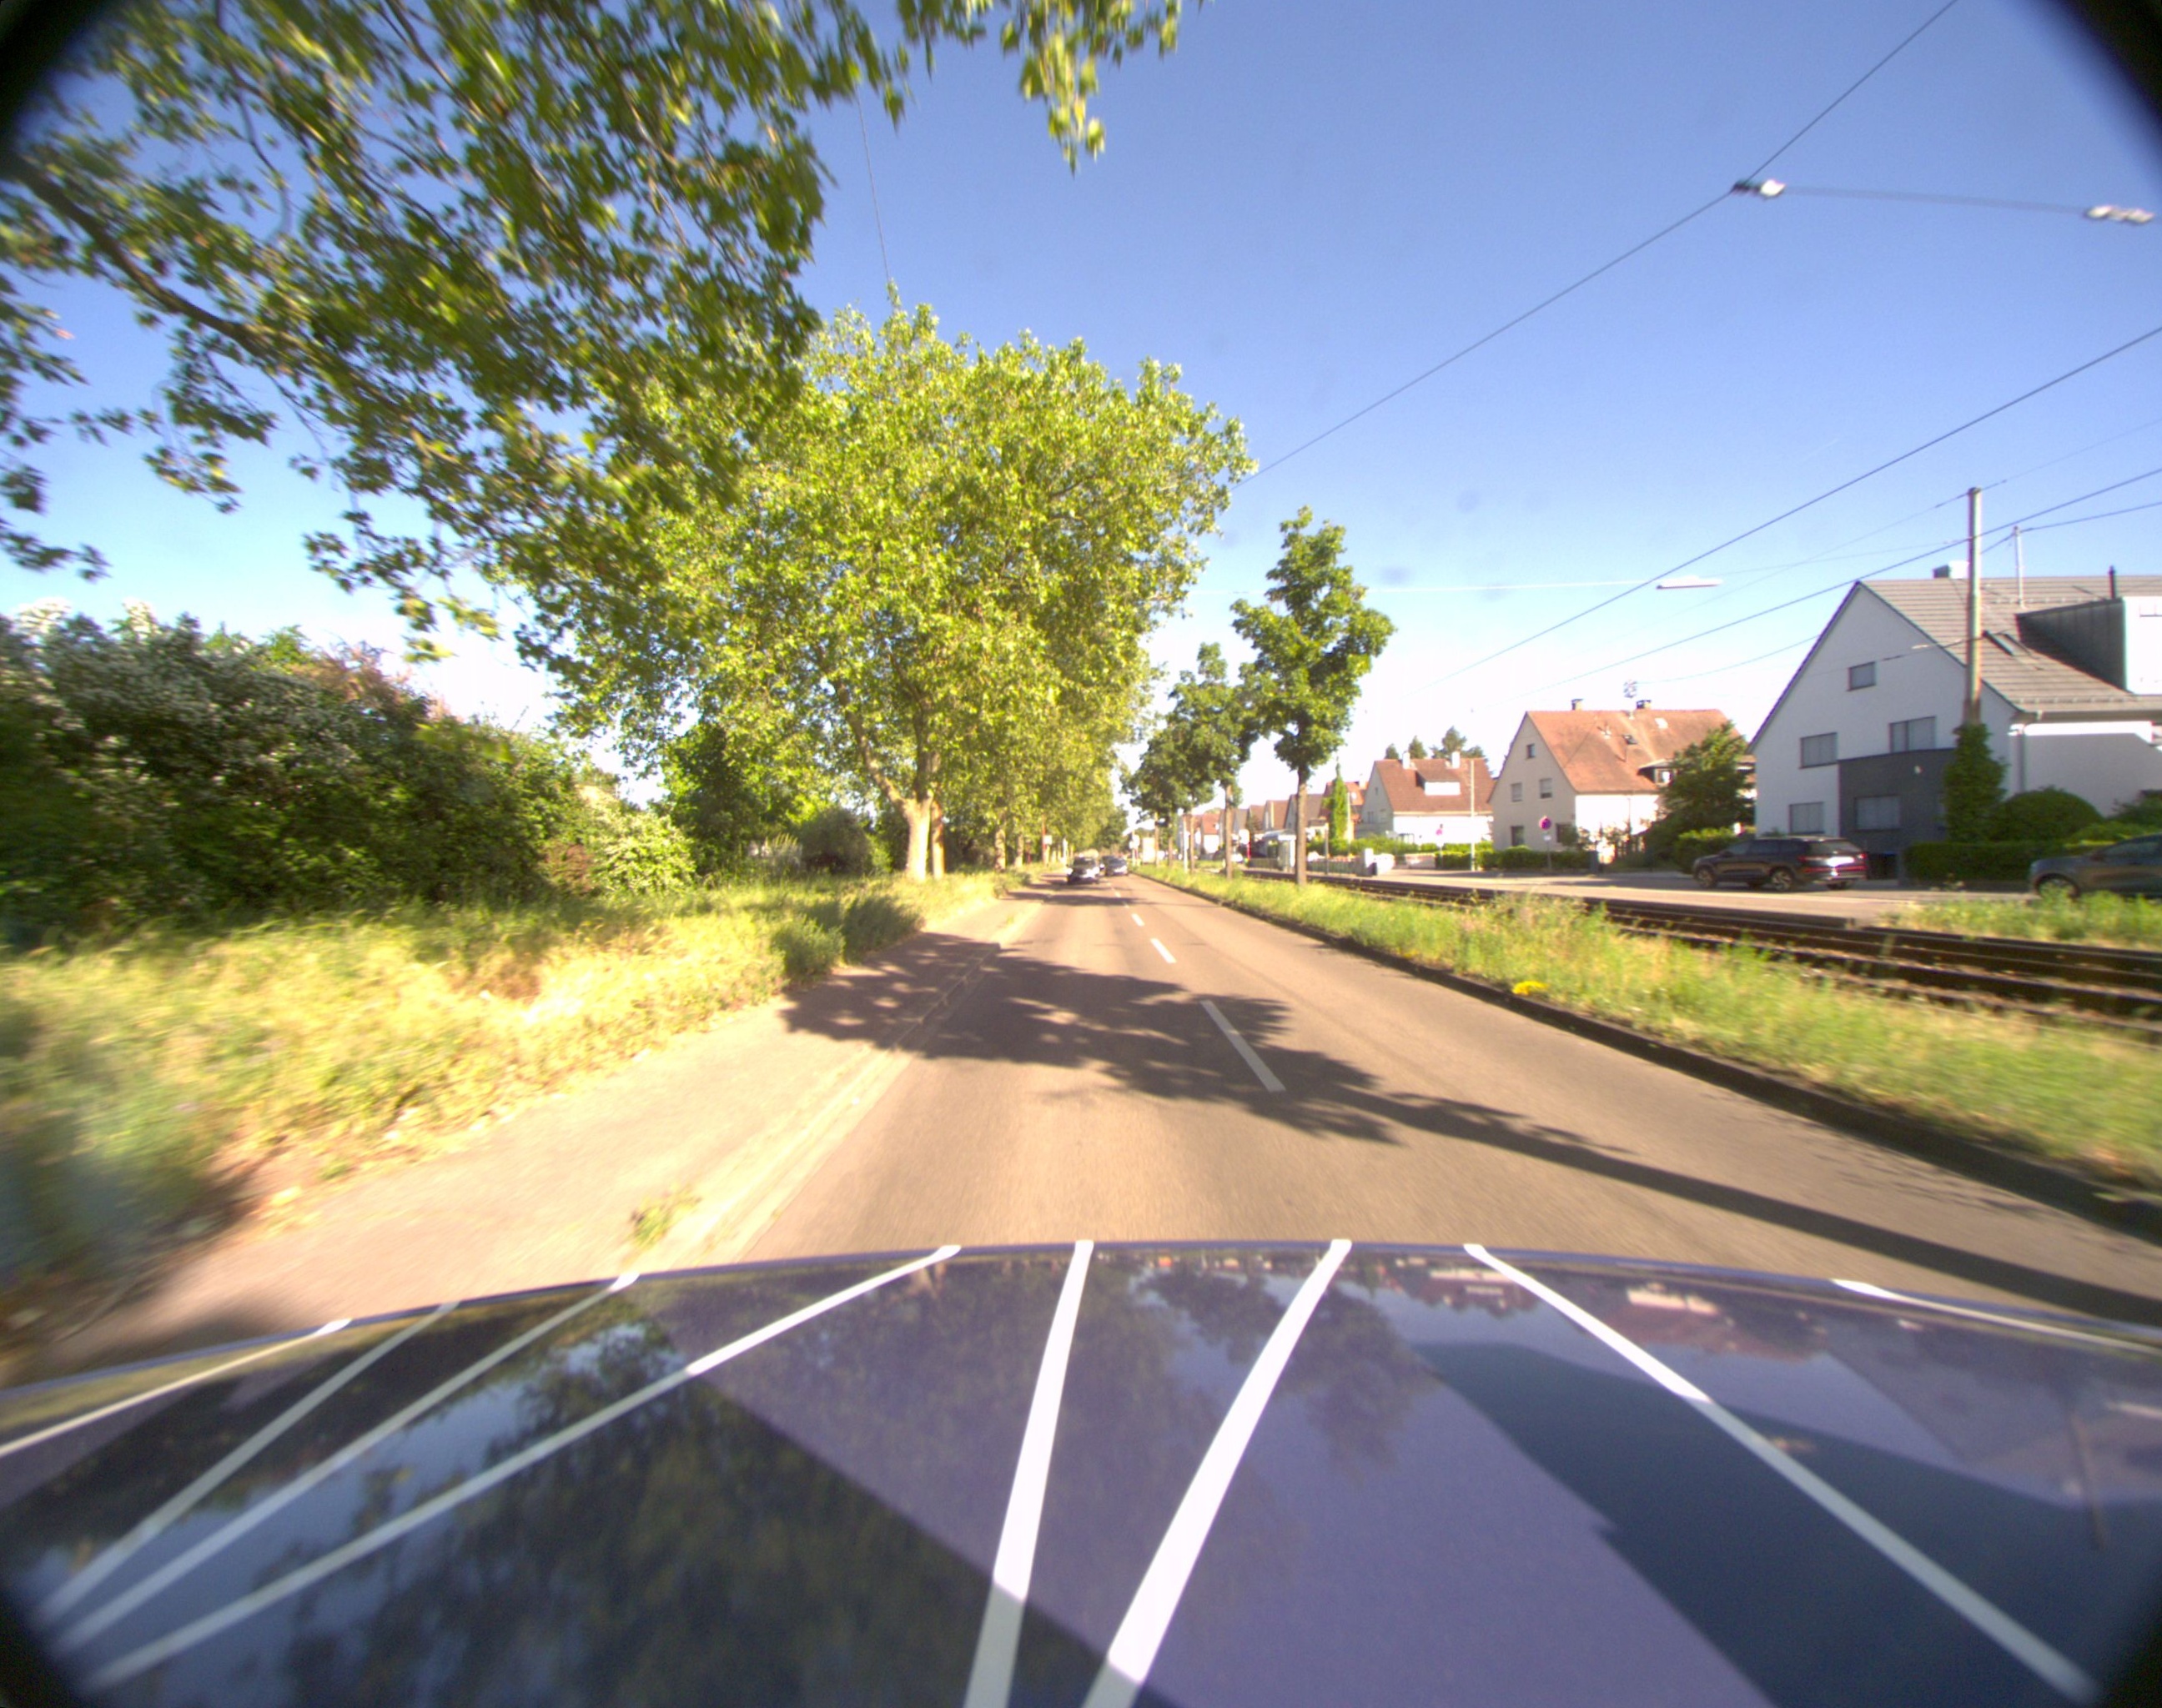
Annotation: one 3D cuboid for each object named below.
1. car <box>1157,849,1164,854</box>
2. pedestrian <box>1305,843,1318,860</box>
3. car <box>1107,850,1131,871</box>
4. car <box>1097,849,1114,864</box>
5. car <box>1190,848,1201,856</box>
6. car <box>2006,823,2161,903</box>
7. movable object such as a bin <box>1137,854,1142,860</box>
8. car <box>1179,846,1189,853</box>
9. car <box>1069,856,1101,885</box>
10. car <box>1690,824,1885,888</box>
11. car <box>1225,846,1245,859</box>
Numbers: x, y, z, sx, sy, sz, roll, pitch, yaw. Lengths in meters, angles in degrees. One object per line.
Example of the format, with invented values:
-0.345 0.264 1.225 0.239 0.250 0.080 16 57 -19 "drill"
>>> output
23.214 -0.744 220.762 1.791 1.497 4.000 -3 1 4 "car"
21.423 -0.248 70.721 0.815 1.525 0.792 -1 -1 -31 "pedestrian"
2.930 0.493 58.744 1.692 1.499 3.582 -3 1 1 "car"
2.627 0.246 82.341 1.692 1.499 3.582 -3 1 1 "car"
22.987 -0.416 152.356 1.738 1.481 3.755 -3 1 1 "car"
21.738 0.154 14.931 1.931 1.486 4.255 -3 1 1 "car"
6.284 0.334 81.696 0.387 0.579 0.379 -3 1 9 "movable object such as a bin"
22.903 -1.015 169.105 1.756 1.373 3.823 -3 1 1 "car"
0.267 0.908 43.254 1.692 1.499 3.582 -2 1 1 "car"
21.828 0.032 23.762 1.998 1.703 4.390 -3 1 1 "car"
22.871 -0.242 113.172 1.998 1.668 4.839 -3 1 1 "car"
